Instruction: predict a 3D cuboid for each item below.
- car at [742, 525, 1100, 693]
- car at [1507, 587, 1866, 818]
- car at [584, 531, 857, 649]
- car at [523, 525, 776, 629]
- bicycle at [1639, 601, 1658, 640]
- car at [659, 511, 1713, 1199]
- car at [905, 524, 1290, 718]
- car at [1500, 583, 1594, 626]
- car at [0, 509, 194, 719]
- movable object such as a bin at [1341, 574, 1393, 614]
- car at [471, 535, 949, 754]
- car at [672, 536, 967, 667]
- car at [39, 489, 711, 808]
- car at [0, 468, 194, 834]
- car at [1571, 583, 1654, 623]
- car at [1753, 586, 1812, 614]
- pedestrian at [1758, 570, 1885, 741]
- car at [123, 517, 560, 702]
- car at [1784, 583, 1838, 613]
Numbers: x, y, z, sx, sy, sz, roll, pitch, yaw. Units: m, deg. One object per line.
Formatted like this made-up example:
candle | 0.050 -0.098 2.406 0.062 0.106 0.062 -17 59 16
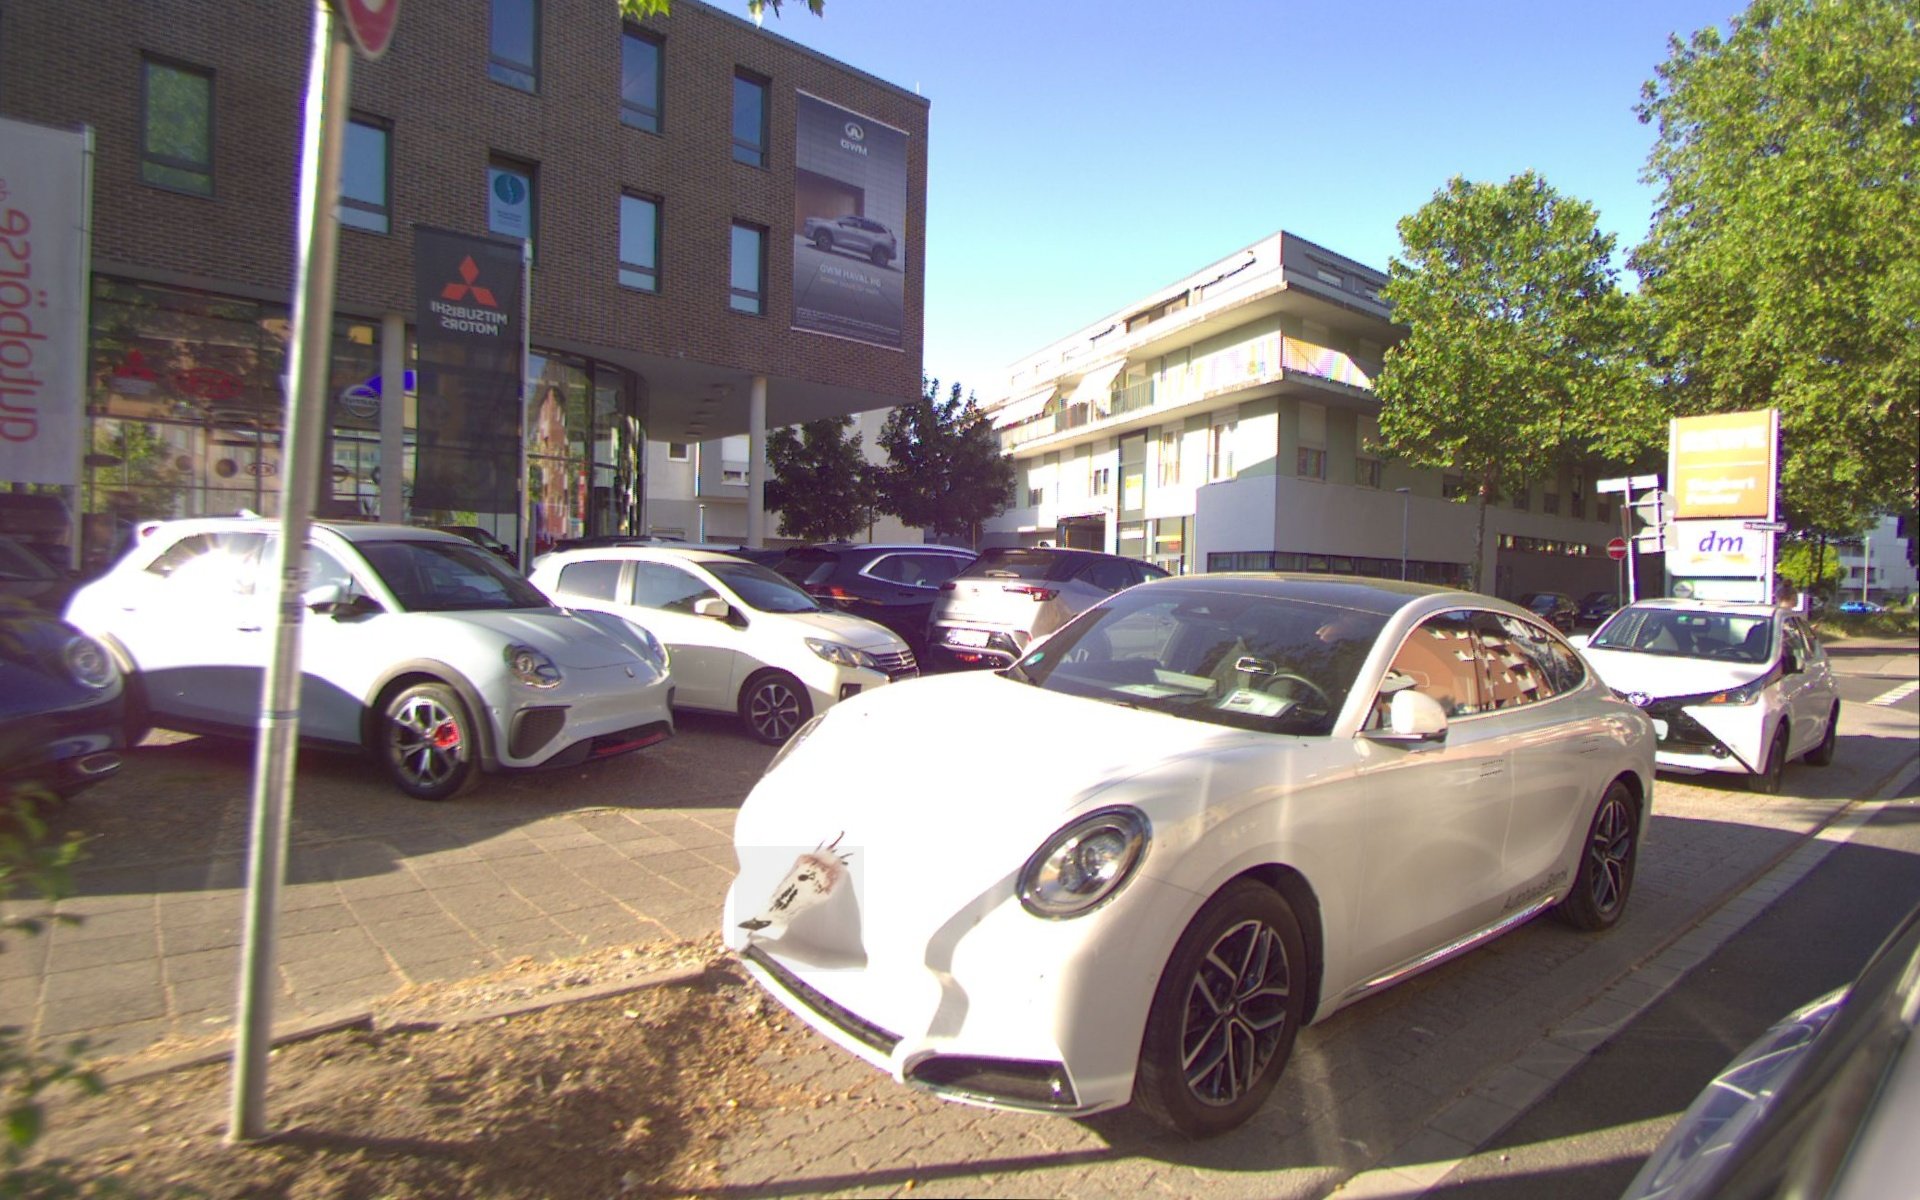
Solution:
car | -0.354 0.059 12.664 4.293 1.753 1.828 0 2 -42
car | 6.452 0.677 8.822 3.952 1.485 1.638 -1 4 -41
car | -3.974 -0.183 17.179 4.109 1.755 1.878 0 2 -42
car | -5.792 -0.419 19.102 4.105 1.755 1.991 0 2 -39
bicycle | 18.829 0.548 27.686 0.381 1.016 1.468 2 2 34
car | 1.291 0.530 4.191 4.501 1.557 1.816 -1 5 -39
car | 1.586 0.153 10.780 4.084 1.690 1.756 0 2 -40
car | 22.299 0.139 38.394 4.052 1.487 1.862 0 2 -41
car | -8.635 -0.006 8.441 3.765 1.529 1.636 3 2 15
movable object such as a bin | 15.516 -0.221 38.609 1.378 1.481 1.199 1 1 -28
car | -2.145 0.278 8.883 3.768 1.564 1.654 2 1 17
car | -1.998 -0.016 15.165 4.109 1.705 1.730 0 2 -42
car | -3.800 0.187 6.758 3.765 1.629 1.733 3 2 15
car | -5.998 0.133 4.834 3.762 1.598 1.735 3 2 13
car | 27.563 0.114 42.727 3.692 1.572 1.864 0 2 -39
car | 49.307 0.001 60.645 4.242 1.562 1.864 0 2 -39
pedestrian | 9.148 0.559 10.777 0.710 1.744 0.692 2 1 10
car | -6.200 0.024 10.241 3.765 1.529 1.636 3 2 15
car | 54.799 -0.121 65.141 4.242 1.793 1.909 0 2 -39
